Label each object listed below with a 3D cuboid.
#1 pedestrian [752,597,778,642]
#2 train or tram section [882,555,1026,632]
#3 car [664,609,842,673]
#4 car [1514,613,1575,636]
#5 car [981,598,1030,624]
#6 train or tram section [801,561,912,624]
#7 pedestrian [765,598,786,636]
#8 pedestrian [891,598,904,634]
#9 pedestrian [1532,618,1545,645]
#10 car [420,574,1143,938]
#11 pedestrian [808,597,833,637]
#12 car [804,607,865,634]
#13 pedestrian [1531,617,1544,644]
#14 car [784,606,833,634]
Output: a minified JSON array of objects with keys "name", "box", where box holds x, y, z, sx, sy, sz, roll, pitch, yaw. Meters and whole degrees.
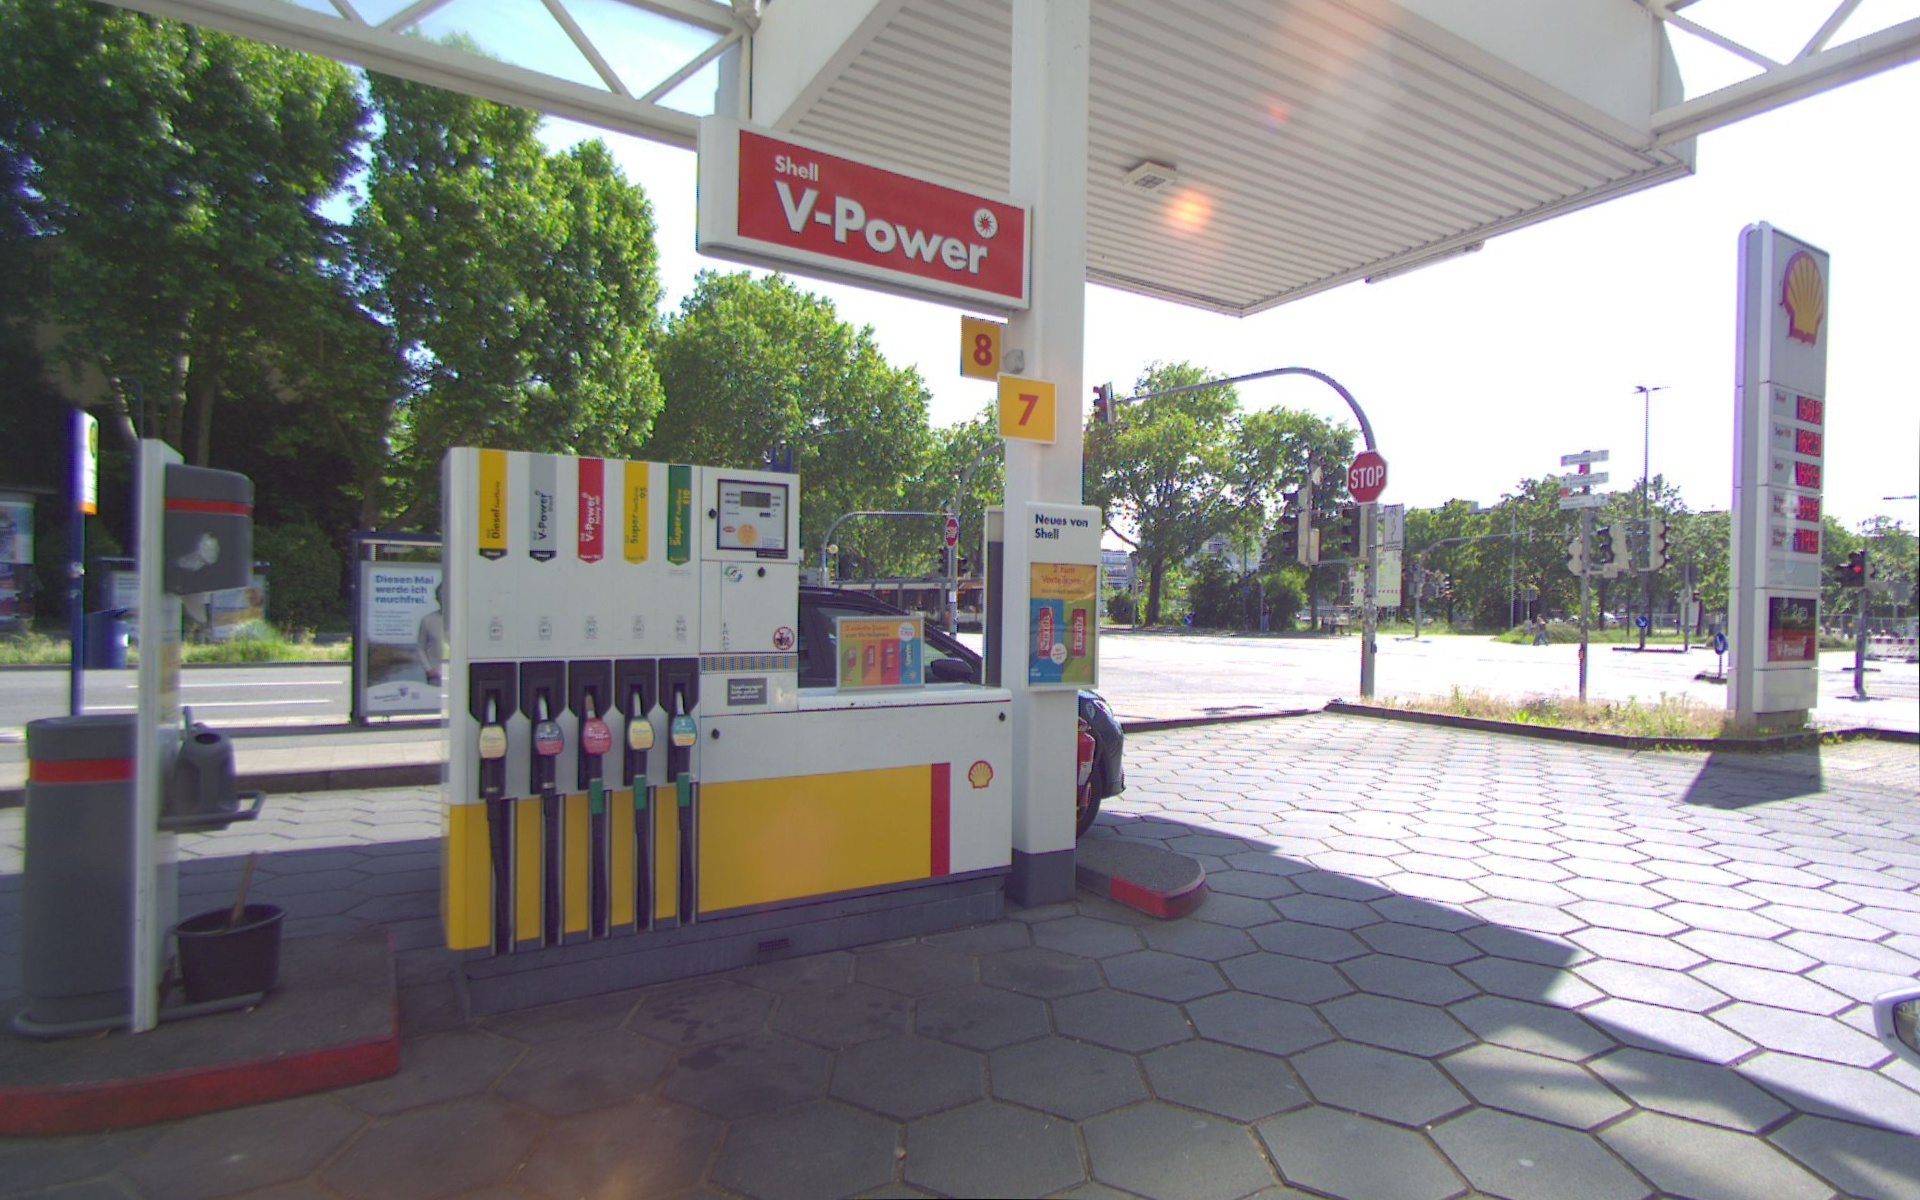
[{"name":"pedestrian","box":[-8.244,0.843,42.443,0.758,1.881,0.723,0,-2,27]},{"name":"train or tram section","box":[-0.814,-0.380,66.671,2.302,4.549,14.820,2,-1,-31]},{"name":"car","box":[-5.072,0.983,24.754,3.957,1.385,1.671,1,2,-32]},{"name":"car","box":[48.153,2.056,82.823,1.974,1.839,3.974,1,-2,-26]},{"name":"car","box":[3.734,0.966,83.419,1.978,2.040,4.408,2,-2,-32]},{"name":"train or tram section","box":[-8.572,-0.542,79.826,2.302,4.549,15.793,2,-1,-31]},{"name":"pedestrian","box":[-8.280,0.759,45.089,0.776,1.696,0.557,1,-2,-28]},{"name":"pedestrian","box":[-3.539,0.919,56.925,0.691,2.013,0.741,0,-2,-1]},{"name":"pedestrian","box":[32.474,1.747,56.385,0.556,1.488,0.512,1,0,35]},{"name":"car","box":[-0.970,0.731,6.084,3.955,1.552,1.734,2,-2,-32]},{"name":"pedestrian","box":[-6.278,0.769,45.244,0.678,1.746,0.865,-1,-2,44]},{"name":"car","box":[-7.390,1.236,58.728,1.851,1.532,3.959,2,-2,-36]},{"name":"pedestrian","box":[32.717,1.726,56.931,0.556,1.488,0.512,1,0,35]},{"name":"car","box":[-9.754,1.285,64.349,1.846,1.711,3.970,2,-2,-29]}]
